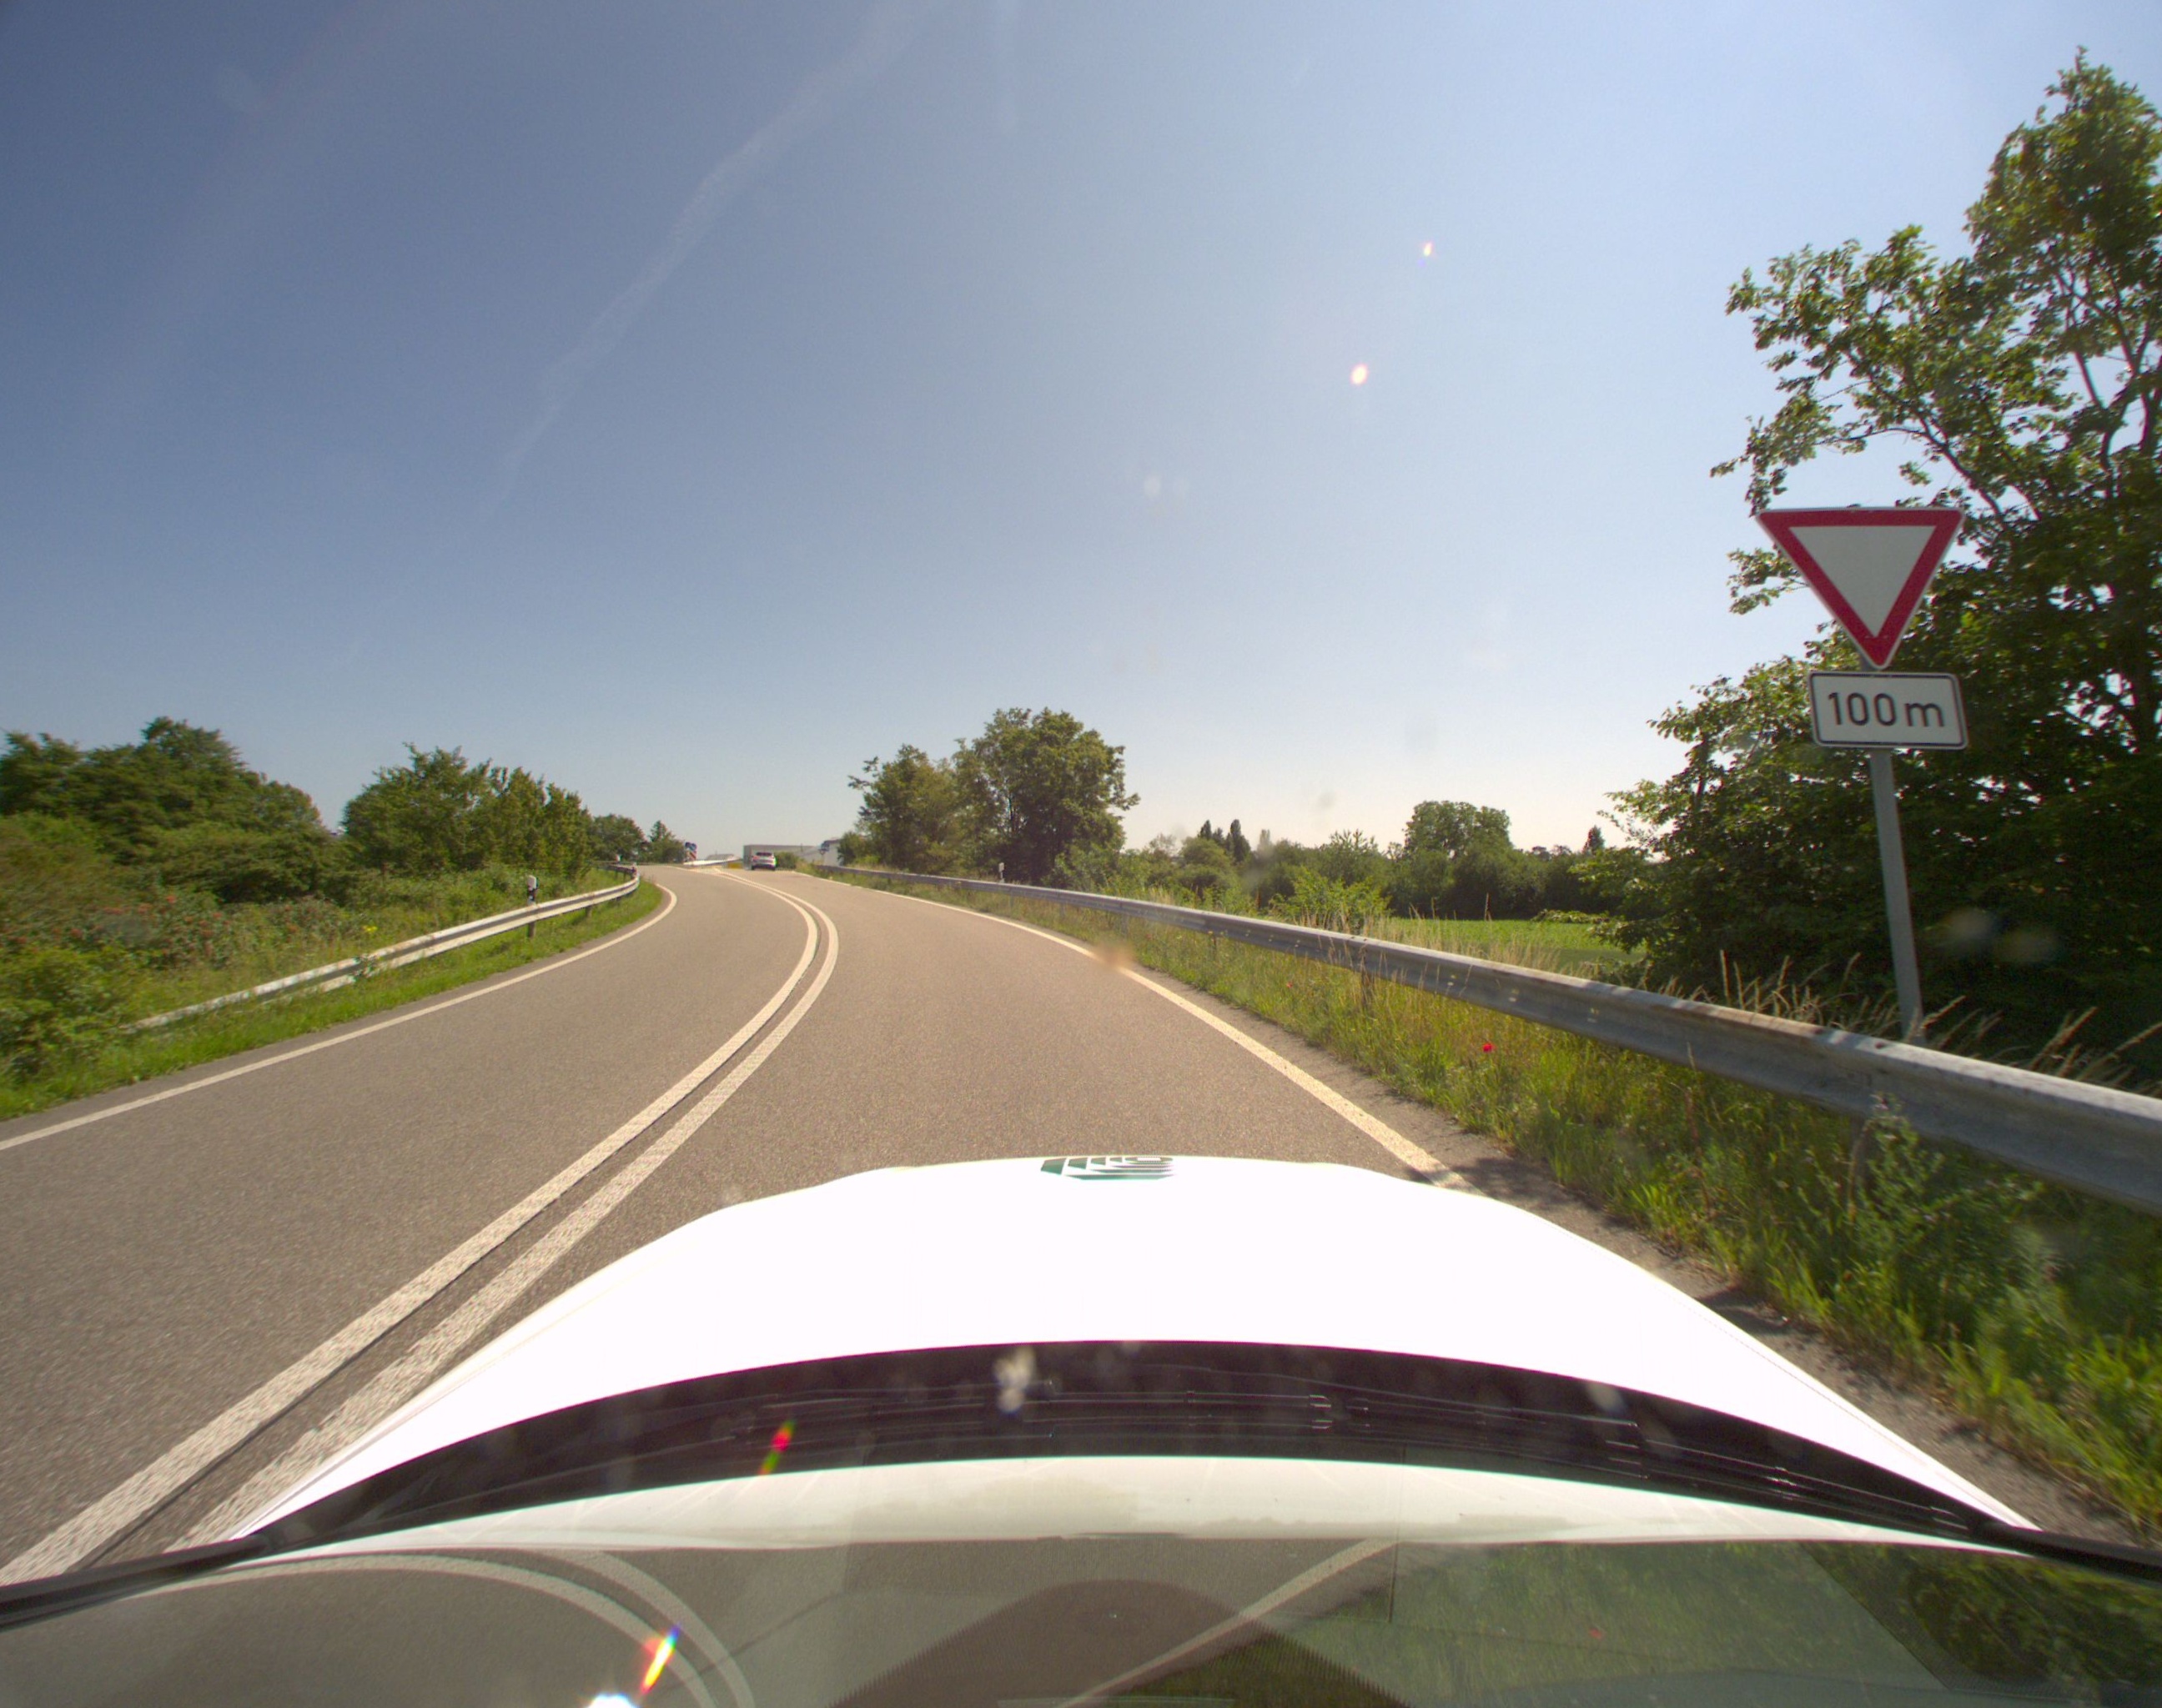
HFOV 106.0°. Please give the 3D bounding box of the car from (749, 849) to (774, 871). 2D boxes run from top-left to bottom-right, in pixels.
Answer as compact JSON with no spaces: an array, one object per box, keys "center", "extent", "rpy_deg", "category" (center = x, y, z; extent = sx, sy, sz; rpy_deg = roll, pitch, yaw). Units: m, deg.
[{"center":[-25.971,0.504,66.237],"extent":[1.815,1.691,3.972],"rpy_deg":[0,-2,-20],"category":"car"}]
